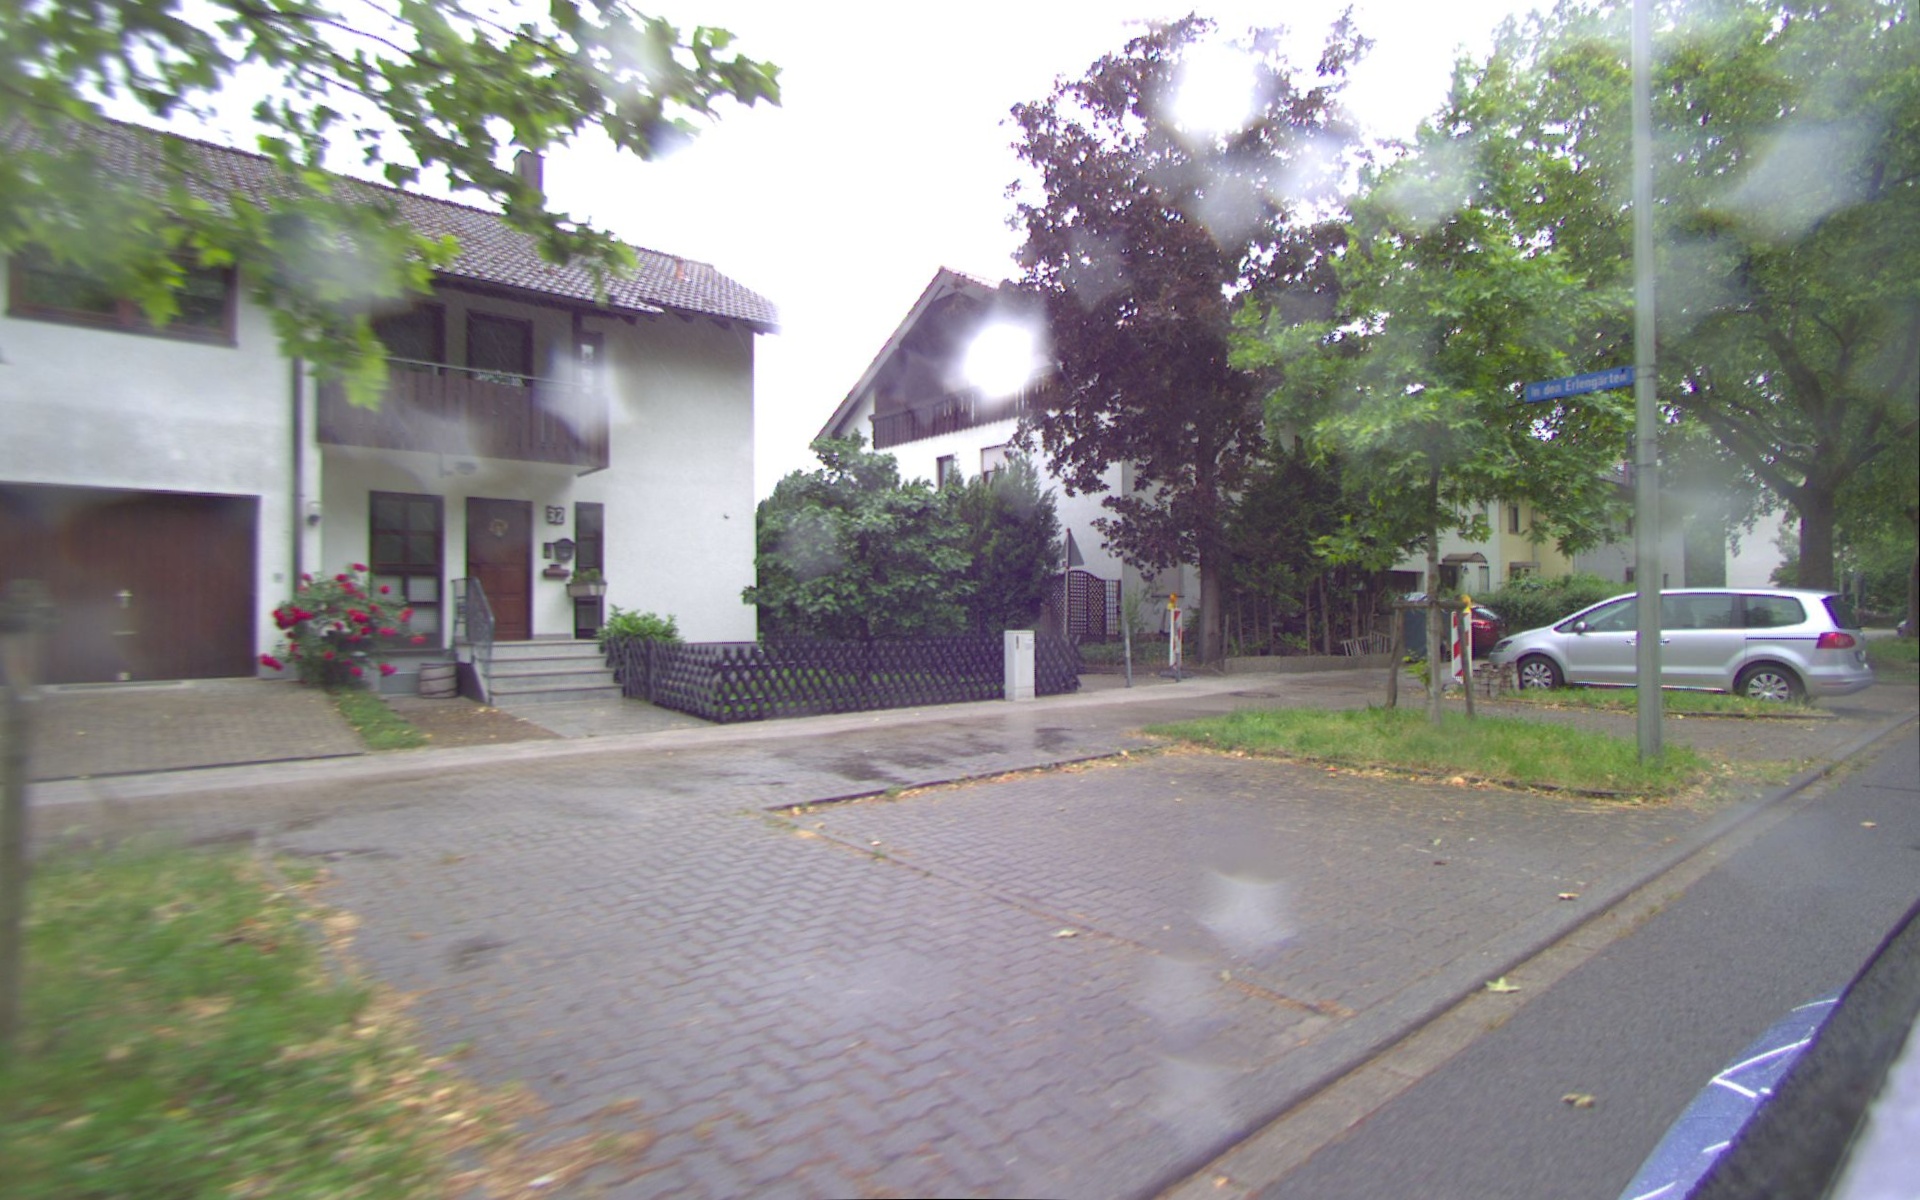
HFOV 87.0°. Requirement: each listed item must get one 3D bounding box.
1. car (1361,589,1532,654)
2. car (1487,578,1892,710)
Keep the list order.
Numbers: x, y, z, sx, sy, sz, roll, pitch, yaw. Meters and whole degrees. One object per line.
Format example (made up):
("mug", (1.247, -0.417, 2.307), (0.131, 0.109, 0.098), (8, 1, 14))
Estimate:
("car", (13.241, 0.545, 27.710), (1.809, 1.633, 3.853), (0, 0, -38))
("car", (10.834, 0.569, 15.339), (1.942, 1.682, 4.695), (0, 0, -42))
